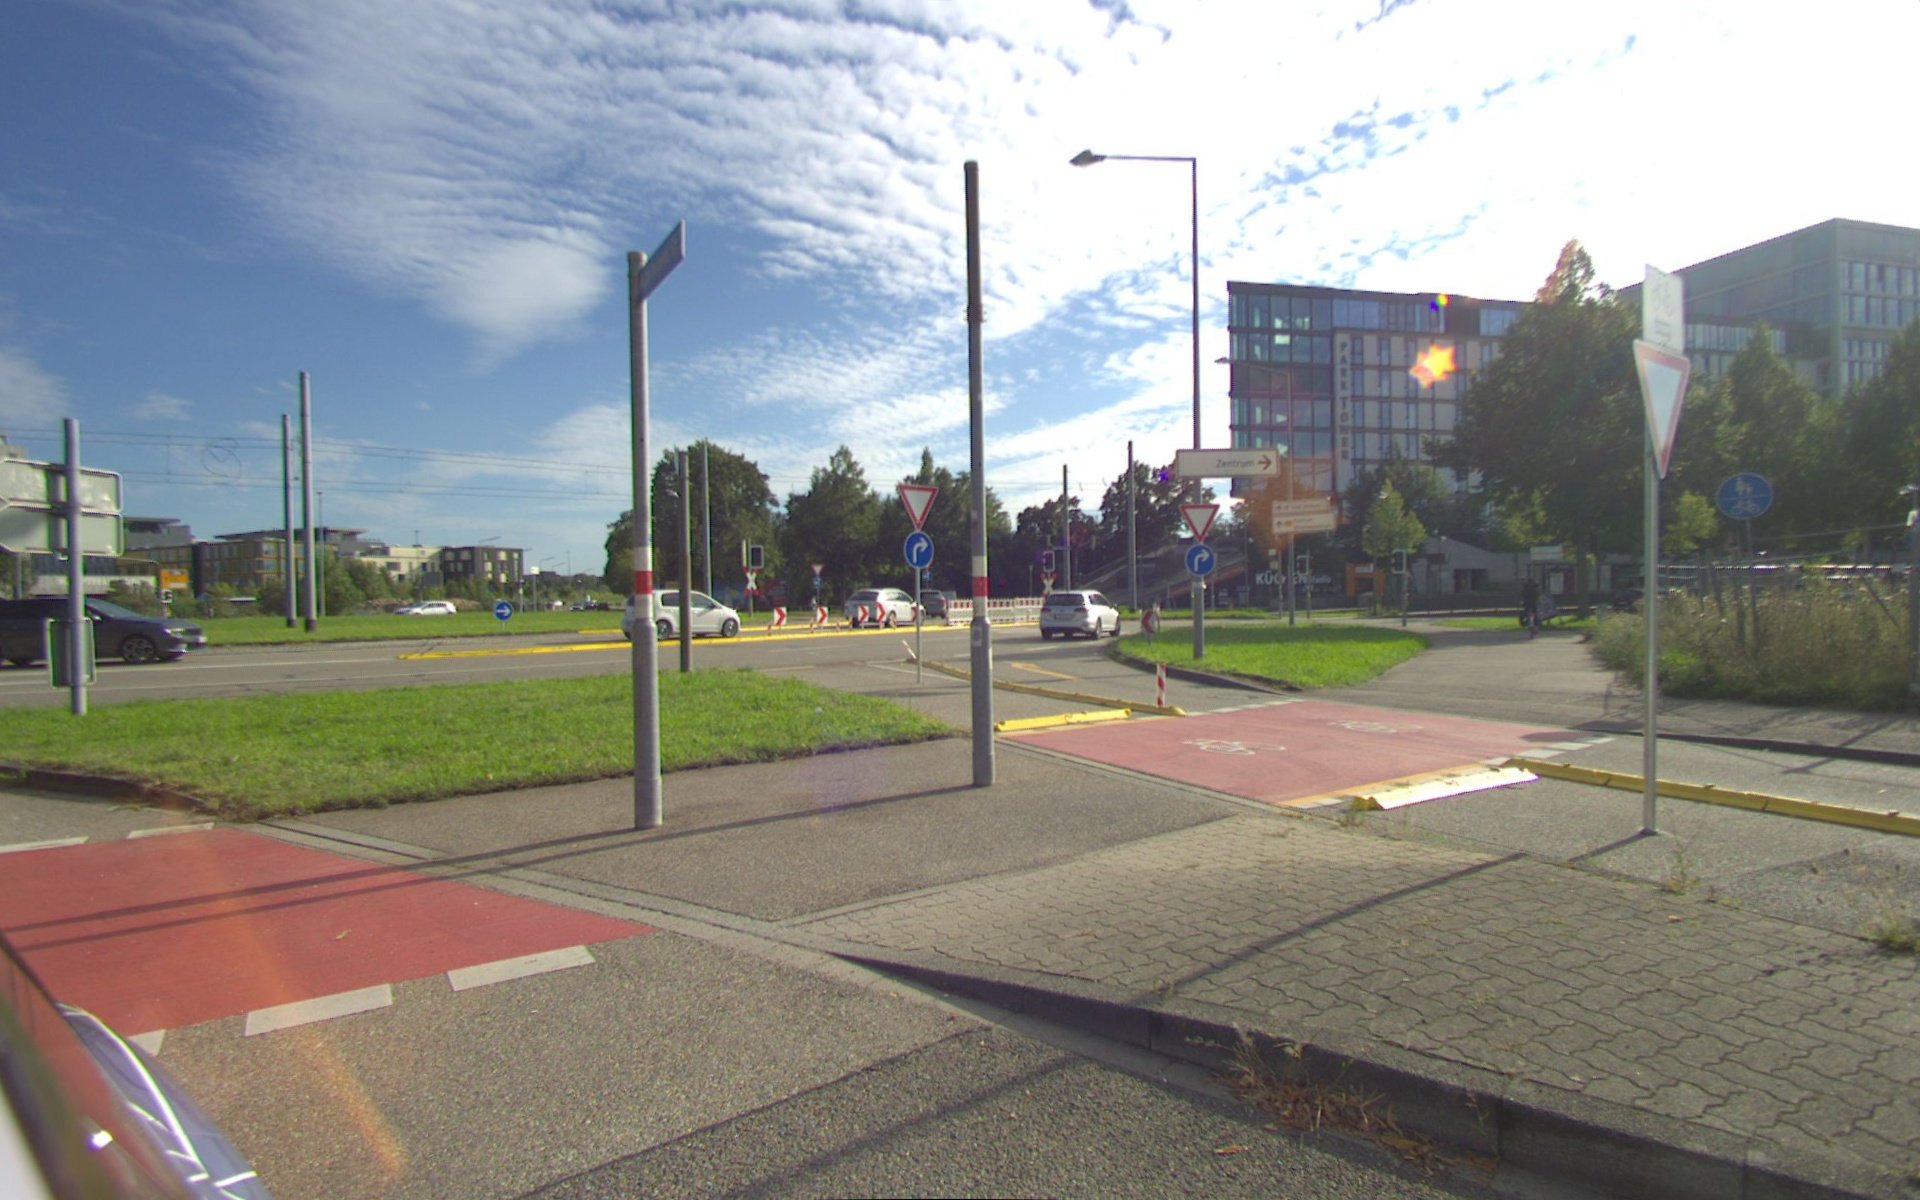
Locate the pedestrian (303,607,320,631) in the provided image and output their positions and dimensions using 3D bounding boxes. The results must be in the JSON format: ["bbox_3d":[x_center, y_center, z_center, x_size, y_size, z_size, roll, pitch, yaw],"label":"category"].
[{"bbox_3d":[-54.152,1.585,84.459,0.882,1.930,0.869,-3,2,-15],"label":"pedestrian"}]

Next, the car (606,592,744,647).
[{"bbox_3d":[-8.402,0.525,30.033,1.766,1.475,3.611,1,1,40],"label":"car"}]

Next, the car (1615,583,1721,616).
[{"bbox_3d":[36.658,-0.059,52.427,4.761,1.578,2.006,-1,2,-17],"label":"car"}]

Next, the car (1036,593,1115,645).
[{"bbox_3d":[3.639,0.525,31.287,1.806,1.463,4.521,-1,0,14],"label":"car"}]

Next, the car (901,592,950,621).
[{"bbox_3d":[-1.915,0.333,55.001,1.806,1.442,4.011,-1,0,-14],"label":"car"}]

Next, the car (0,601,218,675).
[{"bbox_3d":[-18.971,0.788,21.877,4.371,1.431,1.830,-1,1,-18],"label":"car"}]

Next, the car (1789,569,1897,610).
[{"bbox_3d":[45.561,-0.540,52.250,4.583,1.917,1.907,-2,1,-14],"label":"car"}]

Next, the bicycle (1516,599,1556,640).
[{"bbox_3d":[15.936,0.526,27.969,0.704,1.071,2.177,-2,0,36],"label":"bicycle"}]

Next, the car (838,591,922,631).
[{"bbox_3d":[-3.024,0.379,39.493,1.839,1.456,4.616,1,1,15],"label":"car"}]

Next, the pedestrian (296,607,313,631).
[{"bbox_3d":[-54.945,1.597,84.892,0.882,1.930,0.869,-3,2,-15],"label":"pedestrian"}]

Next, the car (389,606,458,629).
[{"bbox_3d":[-40.801,1.298,77.004,1.885,1.587,4.384,-1,0,26],"label":"car"}]

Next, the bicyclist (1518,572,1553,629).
[{"bbox_3d":[15.938,0.013,28.020,0.703,1.523,0.998,-2,-1,36],"label":"bicyclist"}]
